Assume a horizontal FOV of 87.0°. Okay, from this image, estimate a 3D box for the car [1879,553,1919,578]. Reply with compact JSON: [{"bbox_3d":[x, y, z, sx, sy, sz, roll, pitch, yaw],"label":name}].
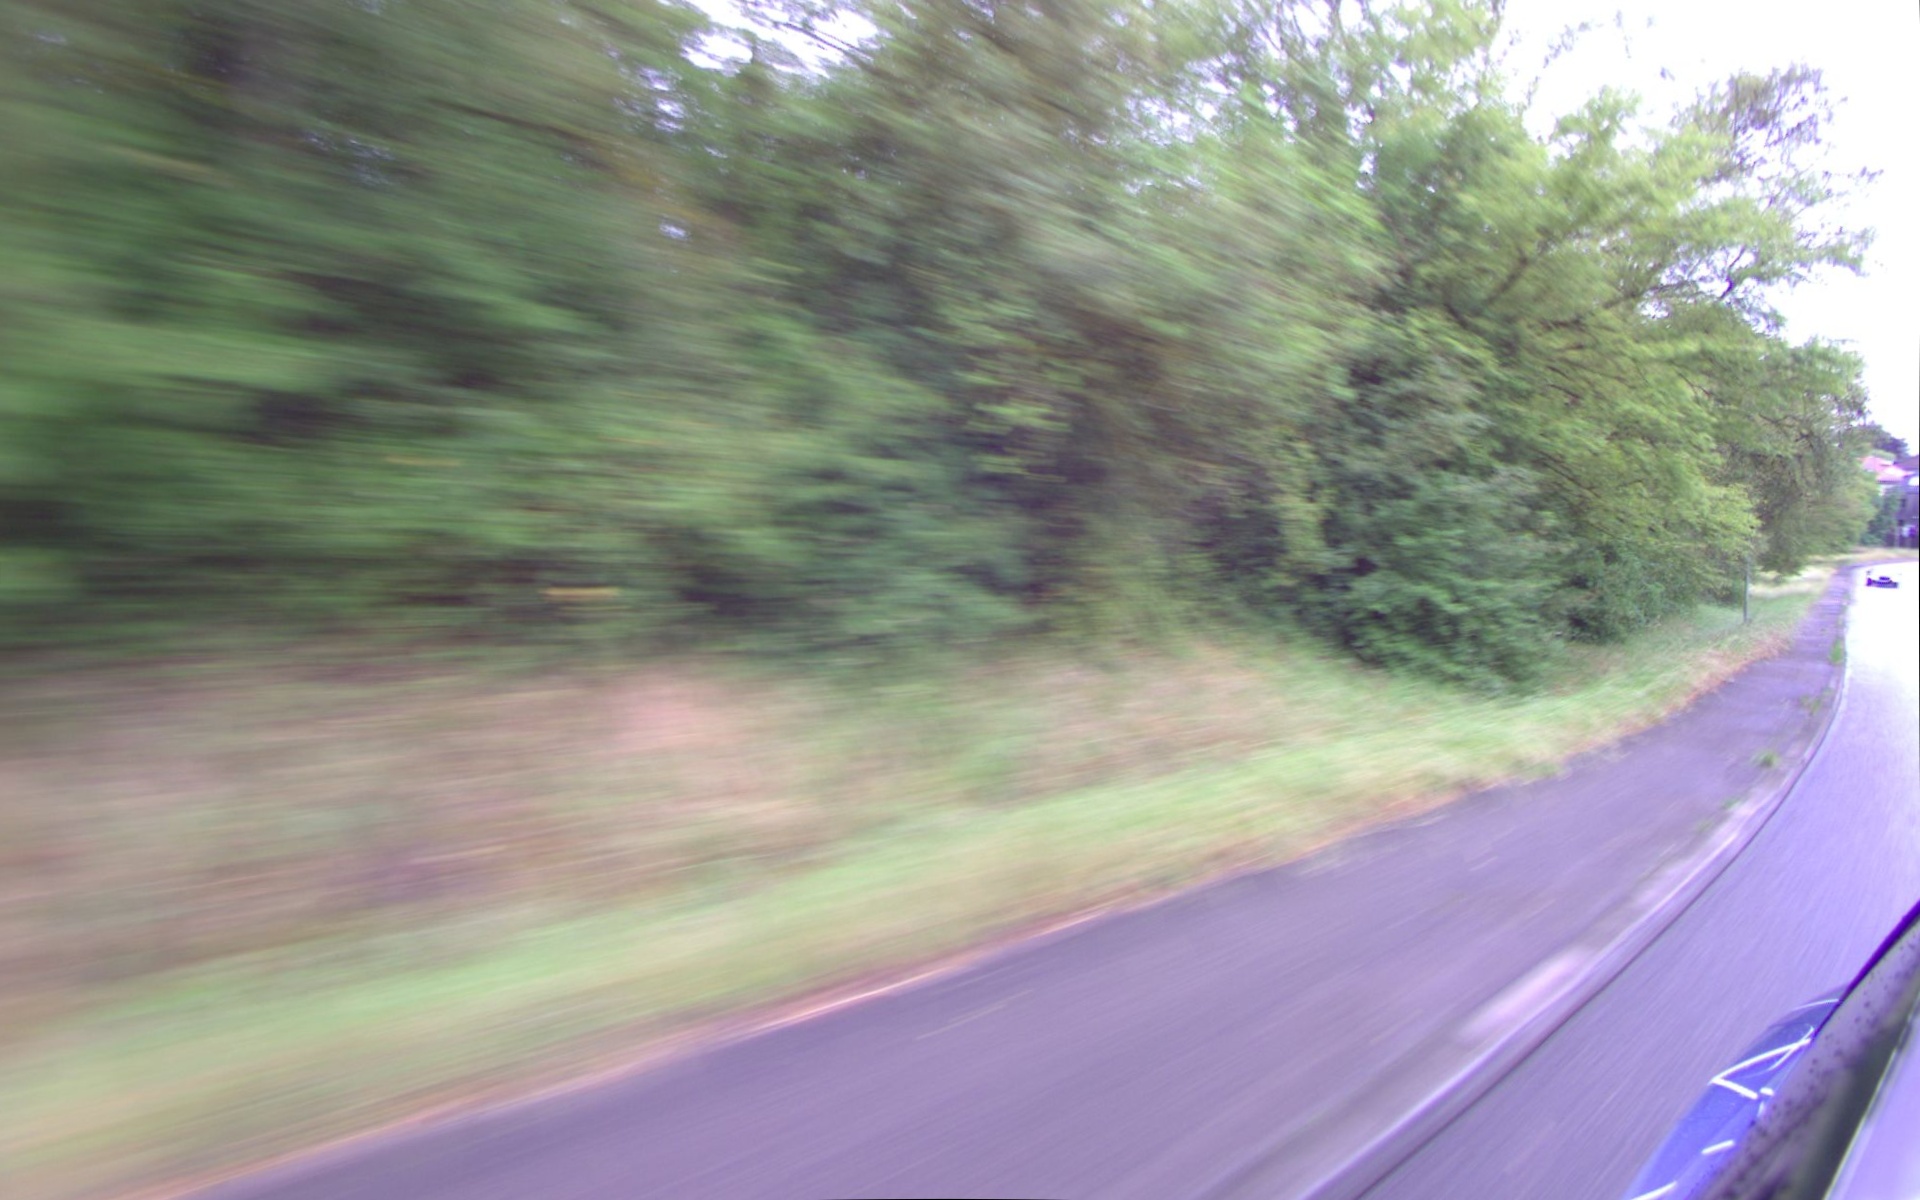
[{"bbox_3d":[68.225,-2.500,73.433,3.935,1.737,1.995,-1,4,-45],"label":"car"}]
